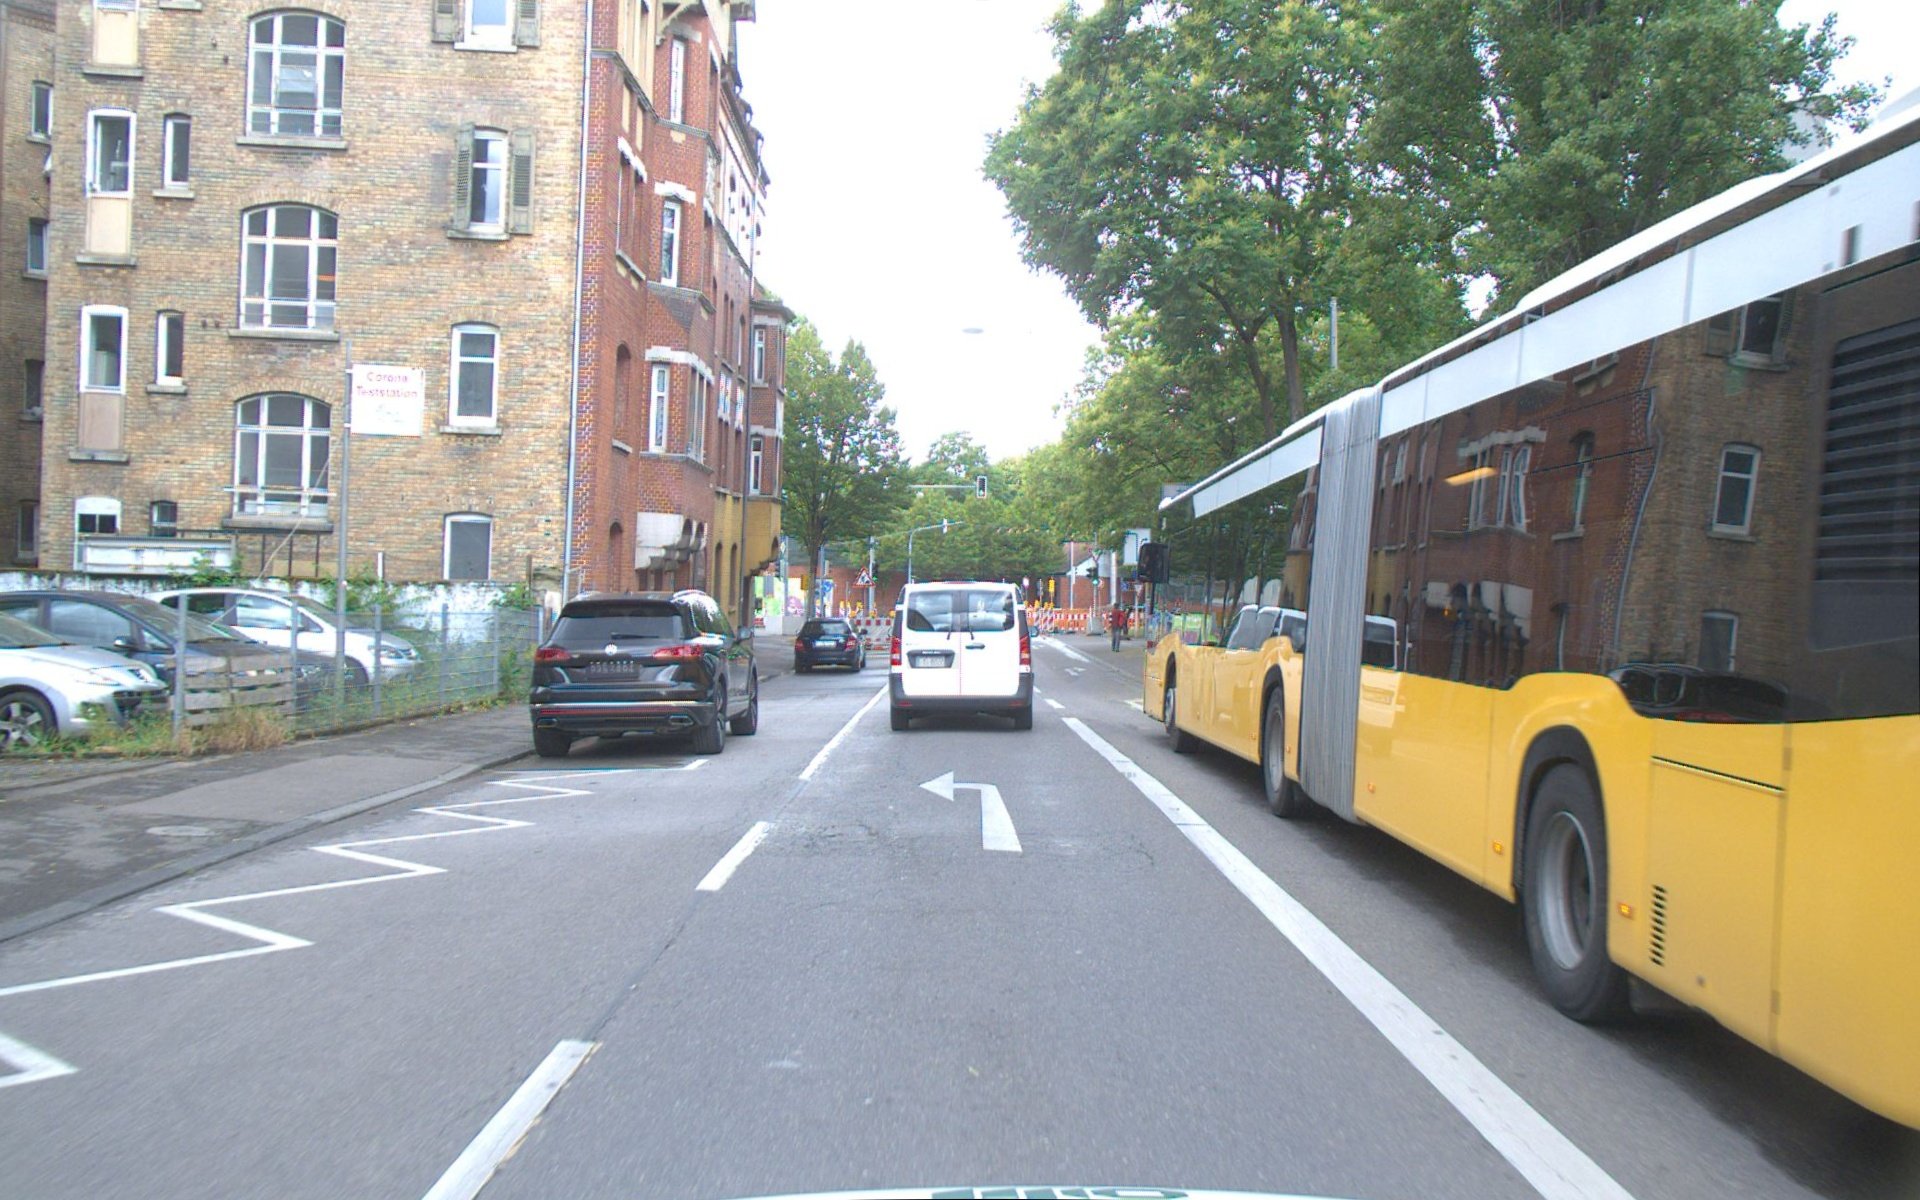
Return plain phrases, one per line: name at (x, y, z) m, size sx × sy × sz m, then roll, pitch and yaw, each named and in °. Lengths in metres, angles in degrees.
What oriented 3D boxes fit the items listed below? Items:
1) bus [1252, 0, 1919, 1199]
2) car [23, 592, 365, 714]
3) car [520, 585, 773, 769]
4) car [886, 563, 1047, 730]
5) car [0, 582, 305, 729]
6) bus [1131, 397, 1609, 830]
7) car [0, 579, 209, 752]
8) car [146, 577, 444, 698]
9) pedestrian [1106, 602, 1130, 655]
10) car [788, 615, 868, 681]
bus at (3.610, 0.047, 7.733) m, size 2.608 × 3.191 × 10.039 m, roll 3°, pitch -1°, yaw 0°
car at (-9.436, 0.646, 20.554) m, size 3.522 × 1.439 × 1.547 m, roll 0°, pitch -1°, yaw 0°
car at (-3.344, 0.761, 18.612) m, size 1.914 × 1.764 × 4.773 m, roll 1°, pitch 0°, yaw 0°
car at (0.028, 0.667, 22.677) m, size 1.879 × 1.935 × 4.699 m, roll 4°, pitch -3°, yaw -1°
car at (-9.362, 0.595, 18.255) m, size 3.522 × 1.531 × 1.853 m, roll 0°, pitch -1°, yaw 0°
bus at (3.645, 0.147, 17.360) m, size 2.617 × 3.193 × 9.217 m, roll 3°, pitch -1°, yaw 0°
car at (-9.365, 0.601, 15.670) m, size 3.646 × 1.531 × 1.853 m, roll 0°, pitch -1°, yaw 0°
car at (-9.346, 0.522, 23.428) m, size 3.522 × 1.640 × 1.688 m, roll 0°, pitch -1°, yaw 0°
pedestrian at (5.679, 1.028, 59.501) m, size 0.763 × 1.863 × 0.727 m, roll -2°, pitch 0°, yaw 0°
car at (-3.535, 1.249, 44.875) m, size 1.689 × 1.511 × 4.391 m, roll 2°, pitch 1°, yaw 1°
